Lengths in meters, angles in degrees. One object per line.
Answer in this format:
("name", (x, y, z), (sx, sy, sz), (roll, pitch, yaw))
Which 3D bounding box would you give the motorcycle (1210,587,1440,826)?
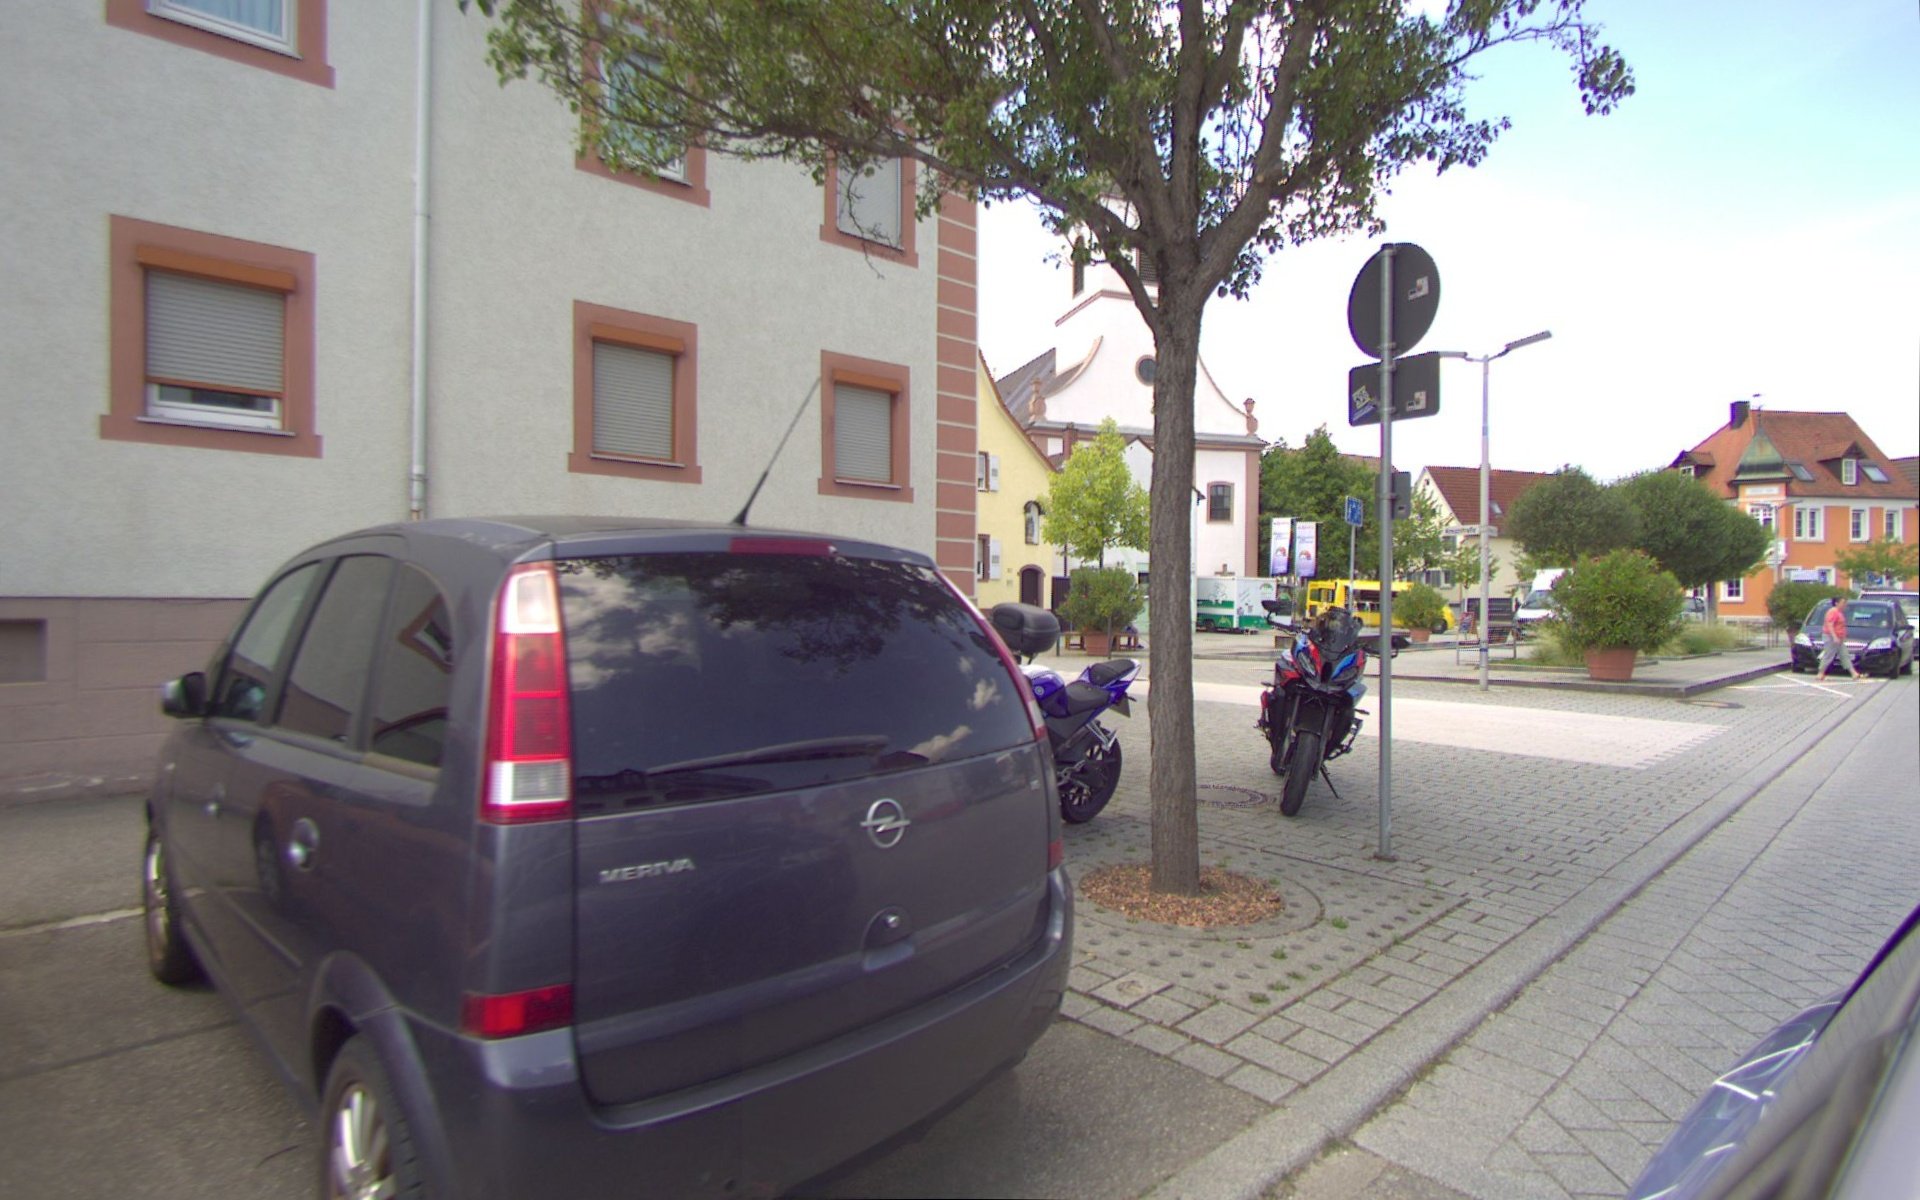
("motorcycle", (2.454, 0.628, 7.159), (0.856, 1.412, 2.225), (1, 0, 1))

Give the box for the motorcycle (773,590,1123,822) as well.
("motorcycle", (-0.049, 0.616, 6.869), (2.182, 1.314, 0.963), (1, 2, -34))

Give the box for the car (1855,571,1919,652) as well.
("car", (28.163, 0.342, 29.855), (5.012, 2.204, 1.946), (0, 2, -41))

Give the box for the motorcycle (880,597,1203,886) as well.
("motorcycle", (0.552, 0.653, 5.703), (0.628, 1.314, 2.150), (2, 1, 42))

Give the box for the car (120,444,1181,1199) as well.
("car", (-1.427, 0.519, 3.379), (1.820, 1.597, 3.852), (0, 2, -44))

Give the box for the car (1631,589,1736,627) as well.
("car", (39.893, 0.450, 55.790), (5.379, 2.039, 2.004), (1, 0, -20))

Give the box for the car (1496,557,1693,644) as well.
("car", (23.628, -0.028, 37.658), (6.965, 3.000, 2.767), (0, 1, -24))

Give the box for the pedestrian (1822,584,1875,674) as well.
("pedestrian", (16.715, 0.534, 19.034), (0.609, 1.649, 0.640), (1, 0, -38))

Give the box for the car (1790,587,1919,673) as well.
("car", (19.408, 0.581, 21.613), (4.339, 1.584, 1.773), (0, 2, -40))

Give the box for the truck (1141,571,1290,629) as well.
("truck", (11.844, 0.002, 47.559), (2.898, 2.529, 6.832), (1, 0, -29))

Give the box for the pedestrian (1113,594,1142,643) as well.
("pedestrian", (4.561, 0.508, 27.545), (0.659, 1.300, 0.614), (0, 1, -2))

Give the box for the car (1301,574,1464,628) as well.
("car", (20.570, 0.034, 49.562), (6.842, 2.508, 2.650), (1, 0, 6))

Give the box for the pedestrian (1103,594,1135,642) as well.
("pedestrian", (4.428, 0.500, 28.163), (0.774, 1.300, 0.537), (0, 1, -2))
